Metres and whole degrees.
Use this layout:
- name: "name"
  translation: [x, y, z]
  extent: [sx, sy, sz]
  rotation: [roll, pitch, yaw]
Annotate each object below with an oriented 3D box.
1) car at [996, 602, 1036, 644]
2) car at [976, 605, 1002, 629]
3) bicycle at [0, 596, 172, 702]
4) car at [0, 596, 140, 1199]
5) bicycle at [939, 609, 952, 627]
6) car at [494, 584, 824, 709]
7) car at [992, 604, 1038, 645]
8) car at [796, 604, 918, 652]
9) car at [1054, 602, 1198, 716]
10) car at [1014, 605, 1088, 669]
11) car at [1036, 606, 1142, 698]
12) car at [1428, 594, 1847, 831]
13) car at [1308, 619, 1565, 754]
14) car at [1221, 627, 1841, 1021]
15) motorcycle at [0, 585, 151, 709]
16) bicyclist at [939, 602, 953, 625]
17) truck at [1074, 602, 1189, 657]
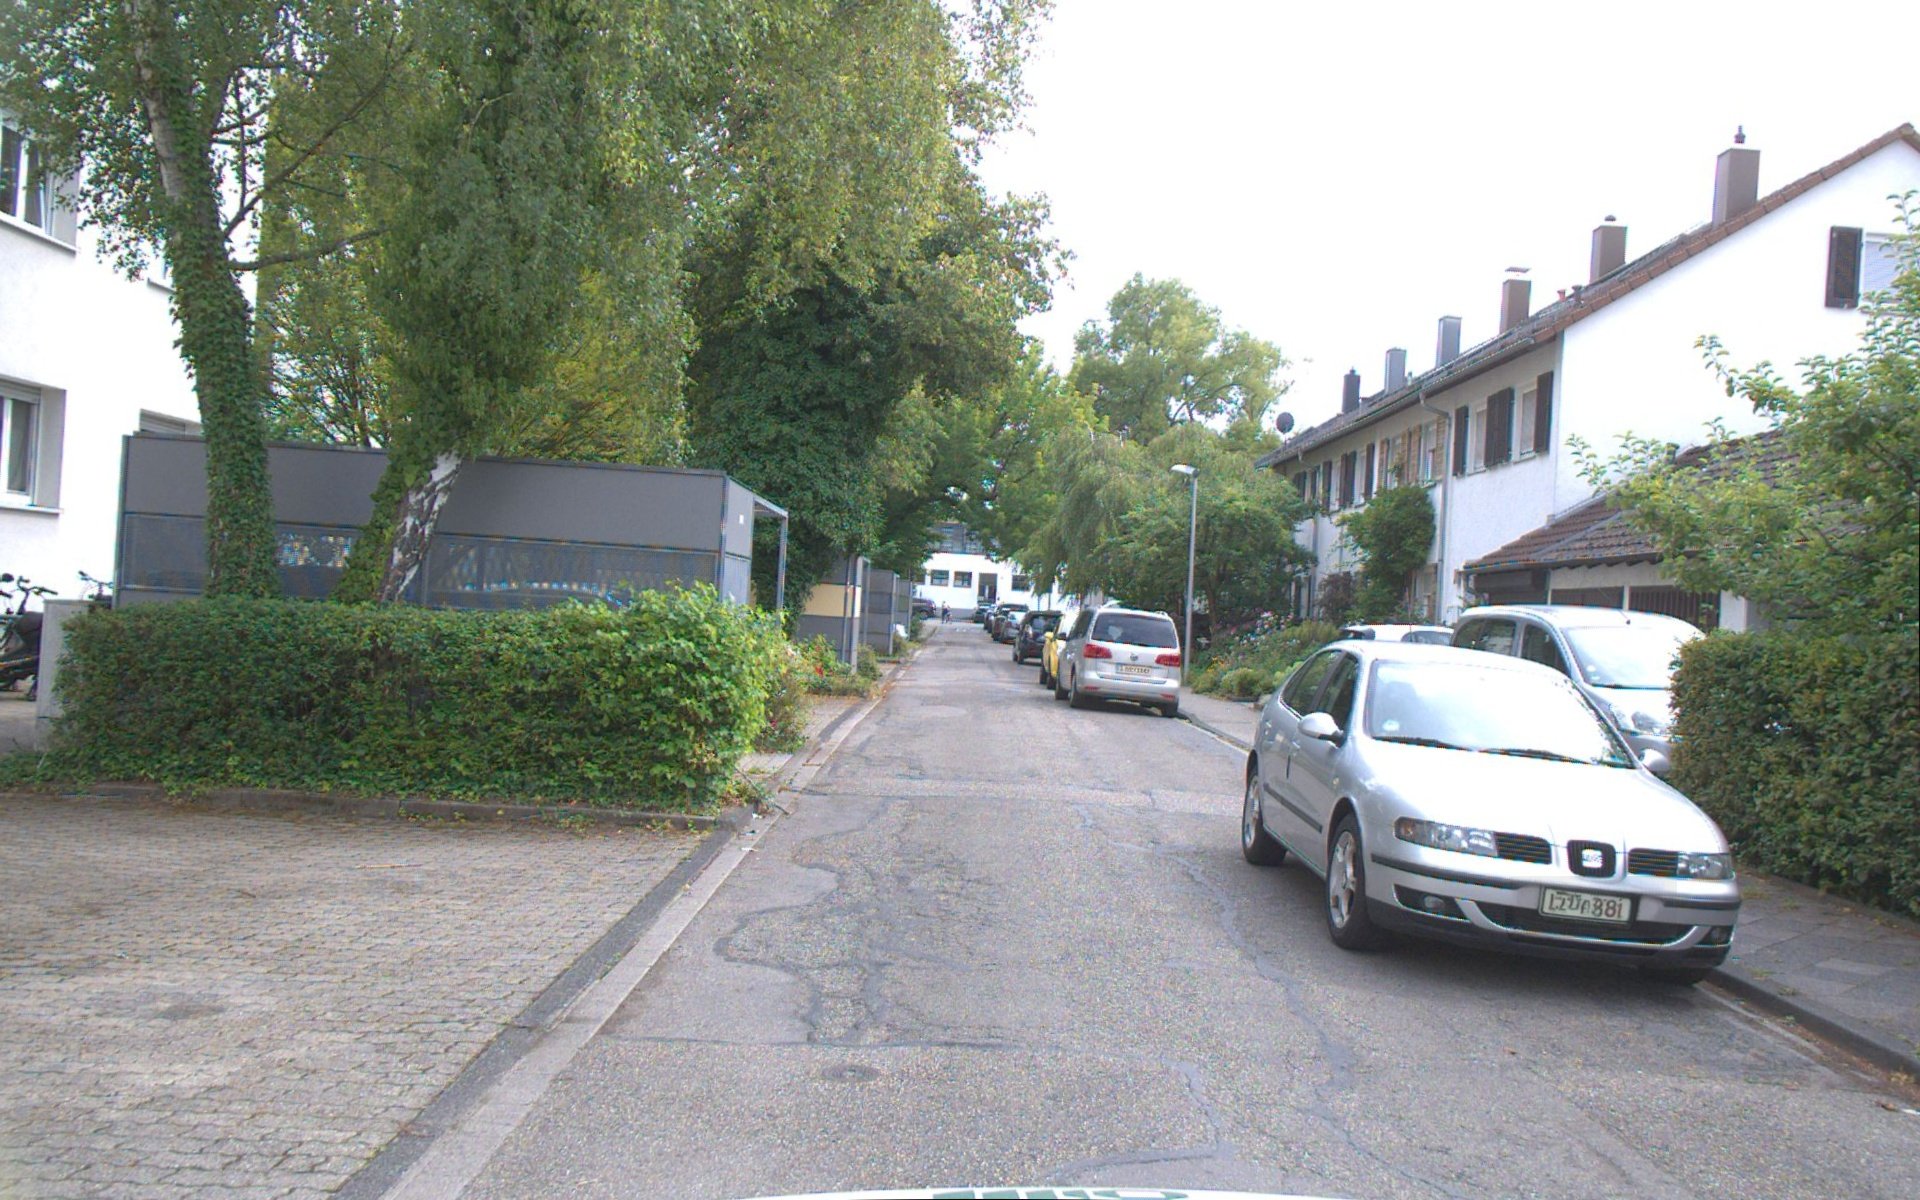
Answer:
- name: "car"
  translation: [2.818, 1.144, 84.470]
  extent: [1.788, 1.915, 4.000]
  rotation: [5, 0, 1]
- name: "car"
  translation: [2.171, 1.268, 125.310]
  extent: [1.788, 1.608, 4.000]
  rotation: [5, 0, 1]
- name: "bicycle"
  translation: [-9.018, 0.505, 16.949]
  extent: [1.644, 1.021, 0.572]
  rotation: [3, -1, -30]
- name: "car"
  translation: [-3.824, 0.598, 2.391]
  extent: [4.241, 1.400, 1.921]
  rotation: [3, 0, -6]
- name: "bicycle"
  translation: [-0.968, 1.234, 112.811]
  extent: [0.675, 1.151, 2.579]
  rotation: [5, -1, 2]
- name: "car"
  translation: [-4.226, 0.649, 23.714]
  extent: [4.322, 1.528, 1.841]
  rotation: [2, 0, 0]
- name: "car"
  translation: [2.396, 1.068, 72.828]
  extent: [1.788, 1.608, 4.000]
  rotation: [5, 0, 1]
- name: "car"
  translation: [-3.428, 0.939, 55.510]
  extent: [3.949, 1.418, 1.738]
  rotation: [2, -1, -1]
- name: "car"
  translation: [2.672, 0.912, 27.493]
  extent: [1.789, 1.608, 3.999]
  rotation: [5, 0, -1]
- name: "car"
  translation: [2.576, 1.035, 47.622]
  extent: [1.788, 1.608, 4.193]
  rotation: [5, 0, 1]
- name: "car"
  translation: [2.594, 1.011, 34.029]
  extent: [1.788, 1.608, 4.000]
  rotation: [5, 0, 1]
- name: "car"
  translation: [5.850, 0.899, 14.921]
  extent: [1.789, 1.808, 4.337]
  rotation: [1, -1, -4]
- name: "car"
  translation: [6.083, 1.083, 21.312]
  extent: [2.760, 1.597, 1.740]
  rotation: [1, 0, -3]
- name: "car"
  translation: [2.681, 0.952, 8.937]
  extent: [1.788, 1.394, 4.331]
  rotation: [5, 0, 1]
- name: "motorcycle"
  translation: [-8.902, 0.448, 15.938]
  extent: [1.877, 1.143, 0.669]
  rotation: [3, -1, -35]
- name: "bicyclist"
  translation: [-0.952, 0.918, 112.863]
  extent: [0.782, 1.537, 0.934]
  rotation: [5, -1, 2]
- name: "truck"
  translation: [6.806, 1.156, 65.927]
  extent: [4.301, 2.049, 2.000]
  rotation: [2, -1, -1]
